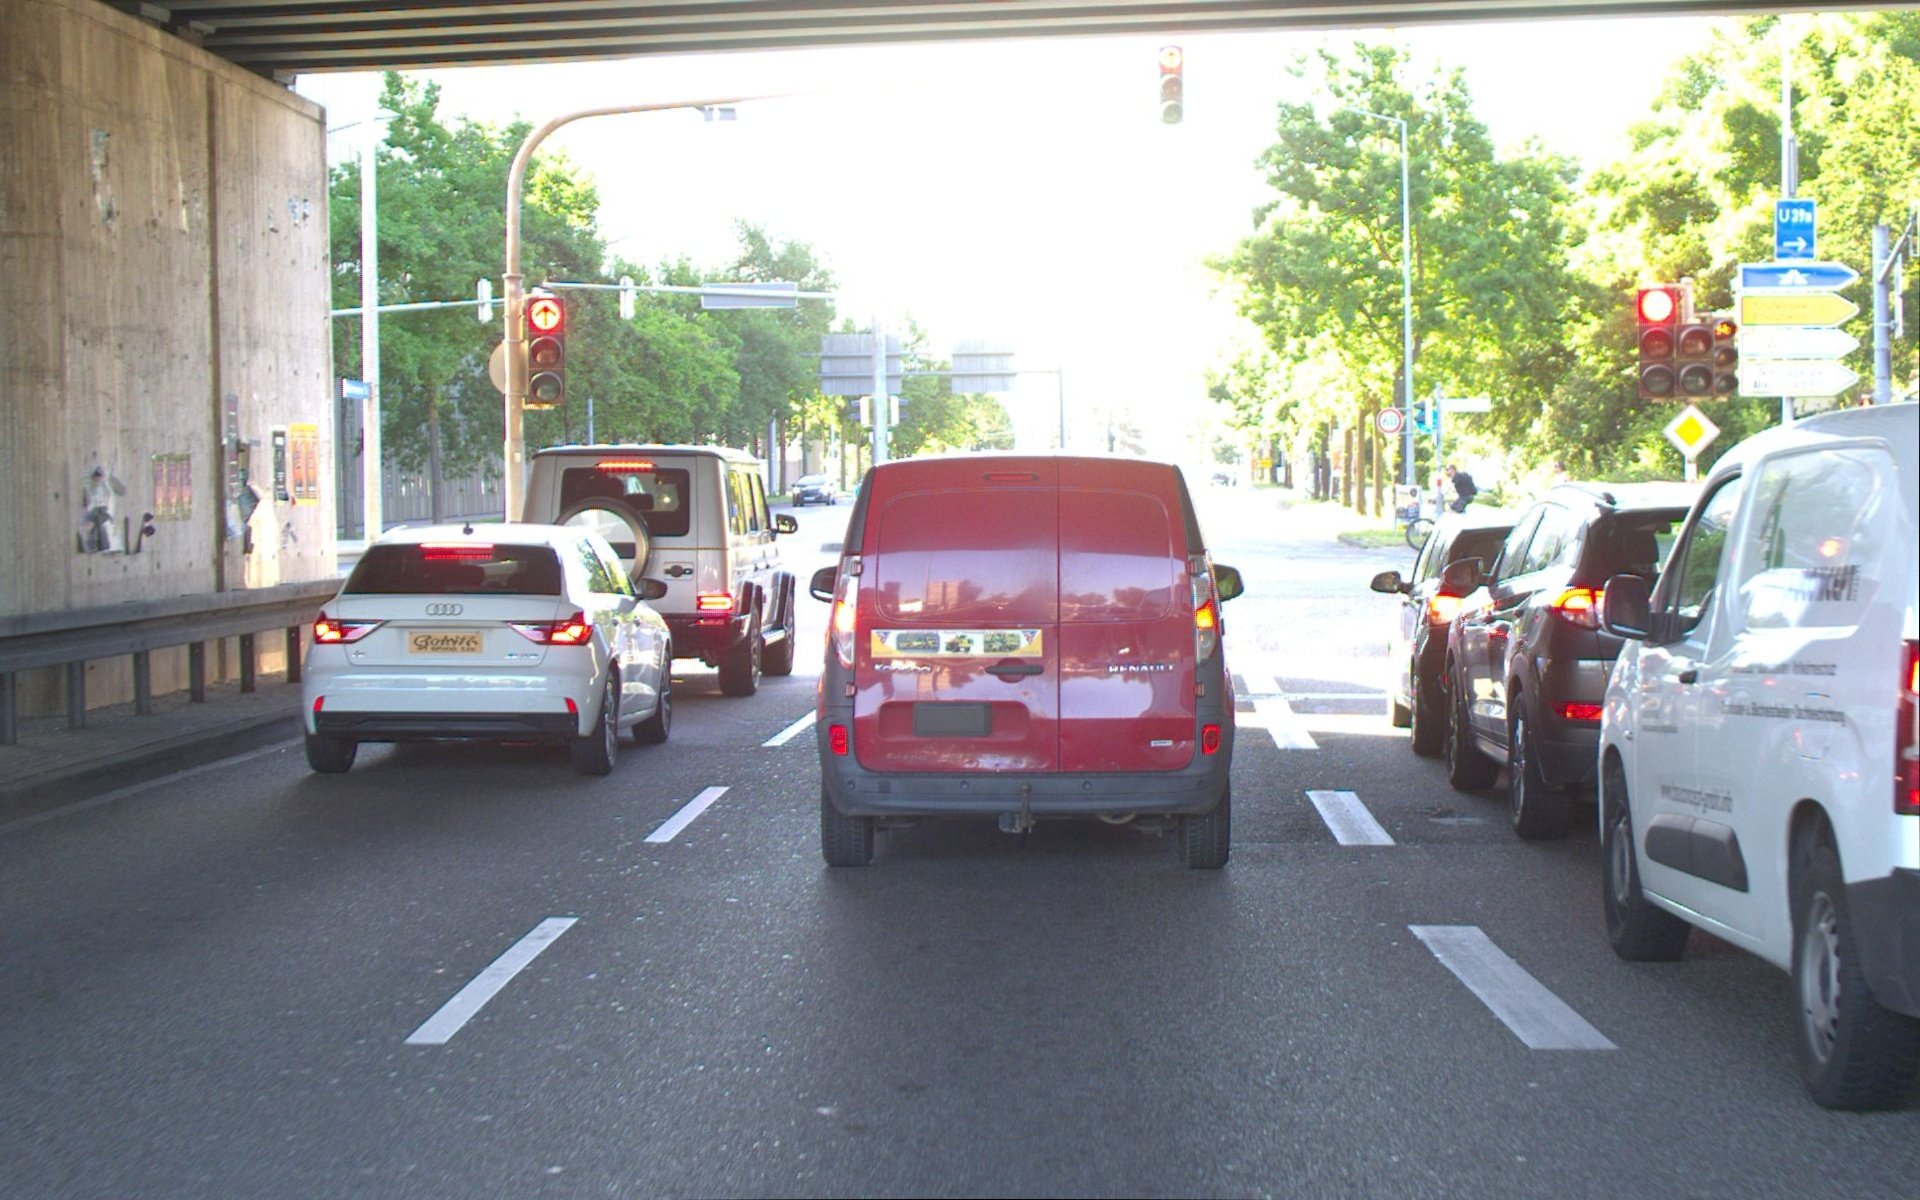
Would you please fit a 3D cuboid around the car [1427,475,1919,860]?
[{"bbox_3d":[3.443,0.241,16.950,1.778,1.650,3.990,1,2,1],"label":"car"}]

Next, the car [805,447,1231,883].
[{"bbox_3d":[0.322,0.216,16.018,1.719,1.758,4.000,1,1,3],"label":"car"}]

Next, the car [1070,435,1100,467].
[{"bbox_3d":[8.348,-9.932,229.392,1.994,2.007,4.000,1,1,3],"label":"car"}]

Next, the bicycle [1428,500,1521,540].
[{"bbox_3d":[11.174,-1.731,74.684,1.913,0.864,0.605,0,1,-1],"label":"bicycle"}]

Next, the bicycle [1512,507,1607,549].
[{"bbox_3d":[12.721,-1.523,72.980,1.953,0.871,0.699,0,1,8],"label":"bicycle"}]

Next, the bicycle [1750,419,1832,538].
[{"bbox_3d":[7.385,-1.071,30.573,0.677,1.020,1.528,1,1,13],"label":"bicycle"}]

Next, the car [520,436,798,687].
[{"bbox_3d":[-2.384,-0.340,28.097,1.813,1.897,3.813,1,1,2],"label":"car"}]

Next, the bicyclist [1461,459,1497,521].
[{"bbox_3d":[11.274,-2.384,74.709,0.652,1.325,0.603,1,1,-3],"label":"bicyclist"}]

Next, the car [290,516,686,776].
[{"bbox_3d":[-2.738,0.206,20.717,1.692,1.405,3.813,1,1,3],"label":"car"}]

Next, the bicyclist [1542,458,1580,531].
[{"bbox_3d":[12.751,-2.226,72.966,0.755,1.536,0.696,0,1,8],"label":"bicyclist"}]

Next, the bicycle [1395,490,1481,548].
[{"bbox_3d":[10.069,-1.705,72.436,1.729,1.229,0.558,0,0,-3],"label":"bicycle"}]

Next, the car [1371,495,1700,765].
[{"bbox_3d":[3.649,0.118,22.366,1.652,1.546,3.864,1,2,3],"label":"car"}]

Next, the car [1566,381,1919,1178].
[{"bbox_3d":[3.055,0.364,10.017,1.813,1.827,4.300,0,2,0],"label":"car"}]

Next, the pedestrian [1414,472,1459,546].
[{"bbox_3d":[10.041,-1.909,72.429,0.836,1.549,0.557,0,1,-4],"label":"pedestrian"}]

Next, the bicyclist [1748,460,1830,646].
[{"bbox_3d":[7.369,-0.421,30.570,0.678,1.623,0.643,1,1,13],"label":"bicyclist"}]
